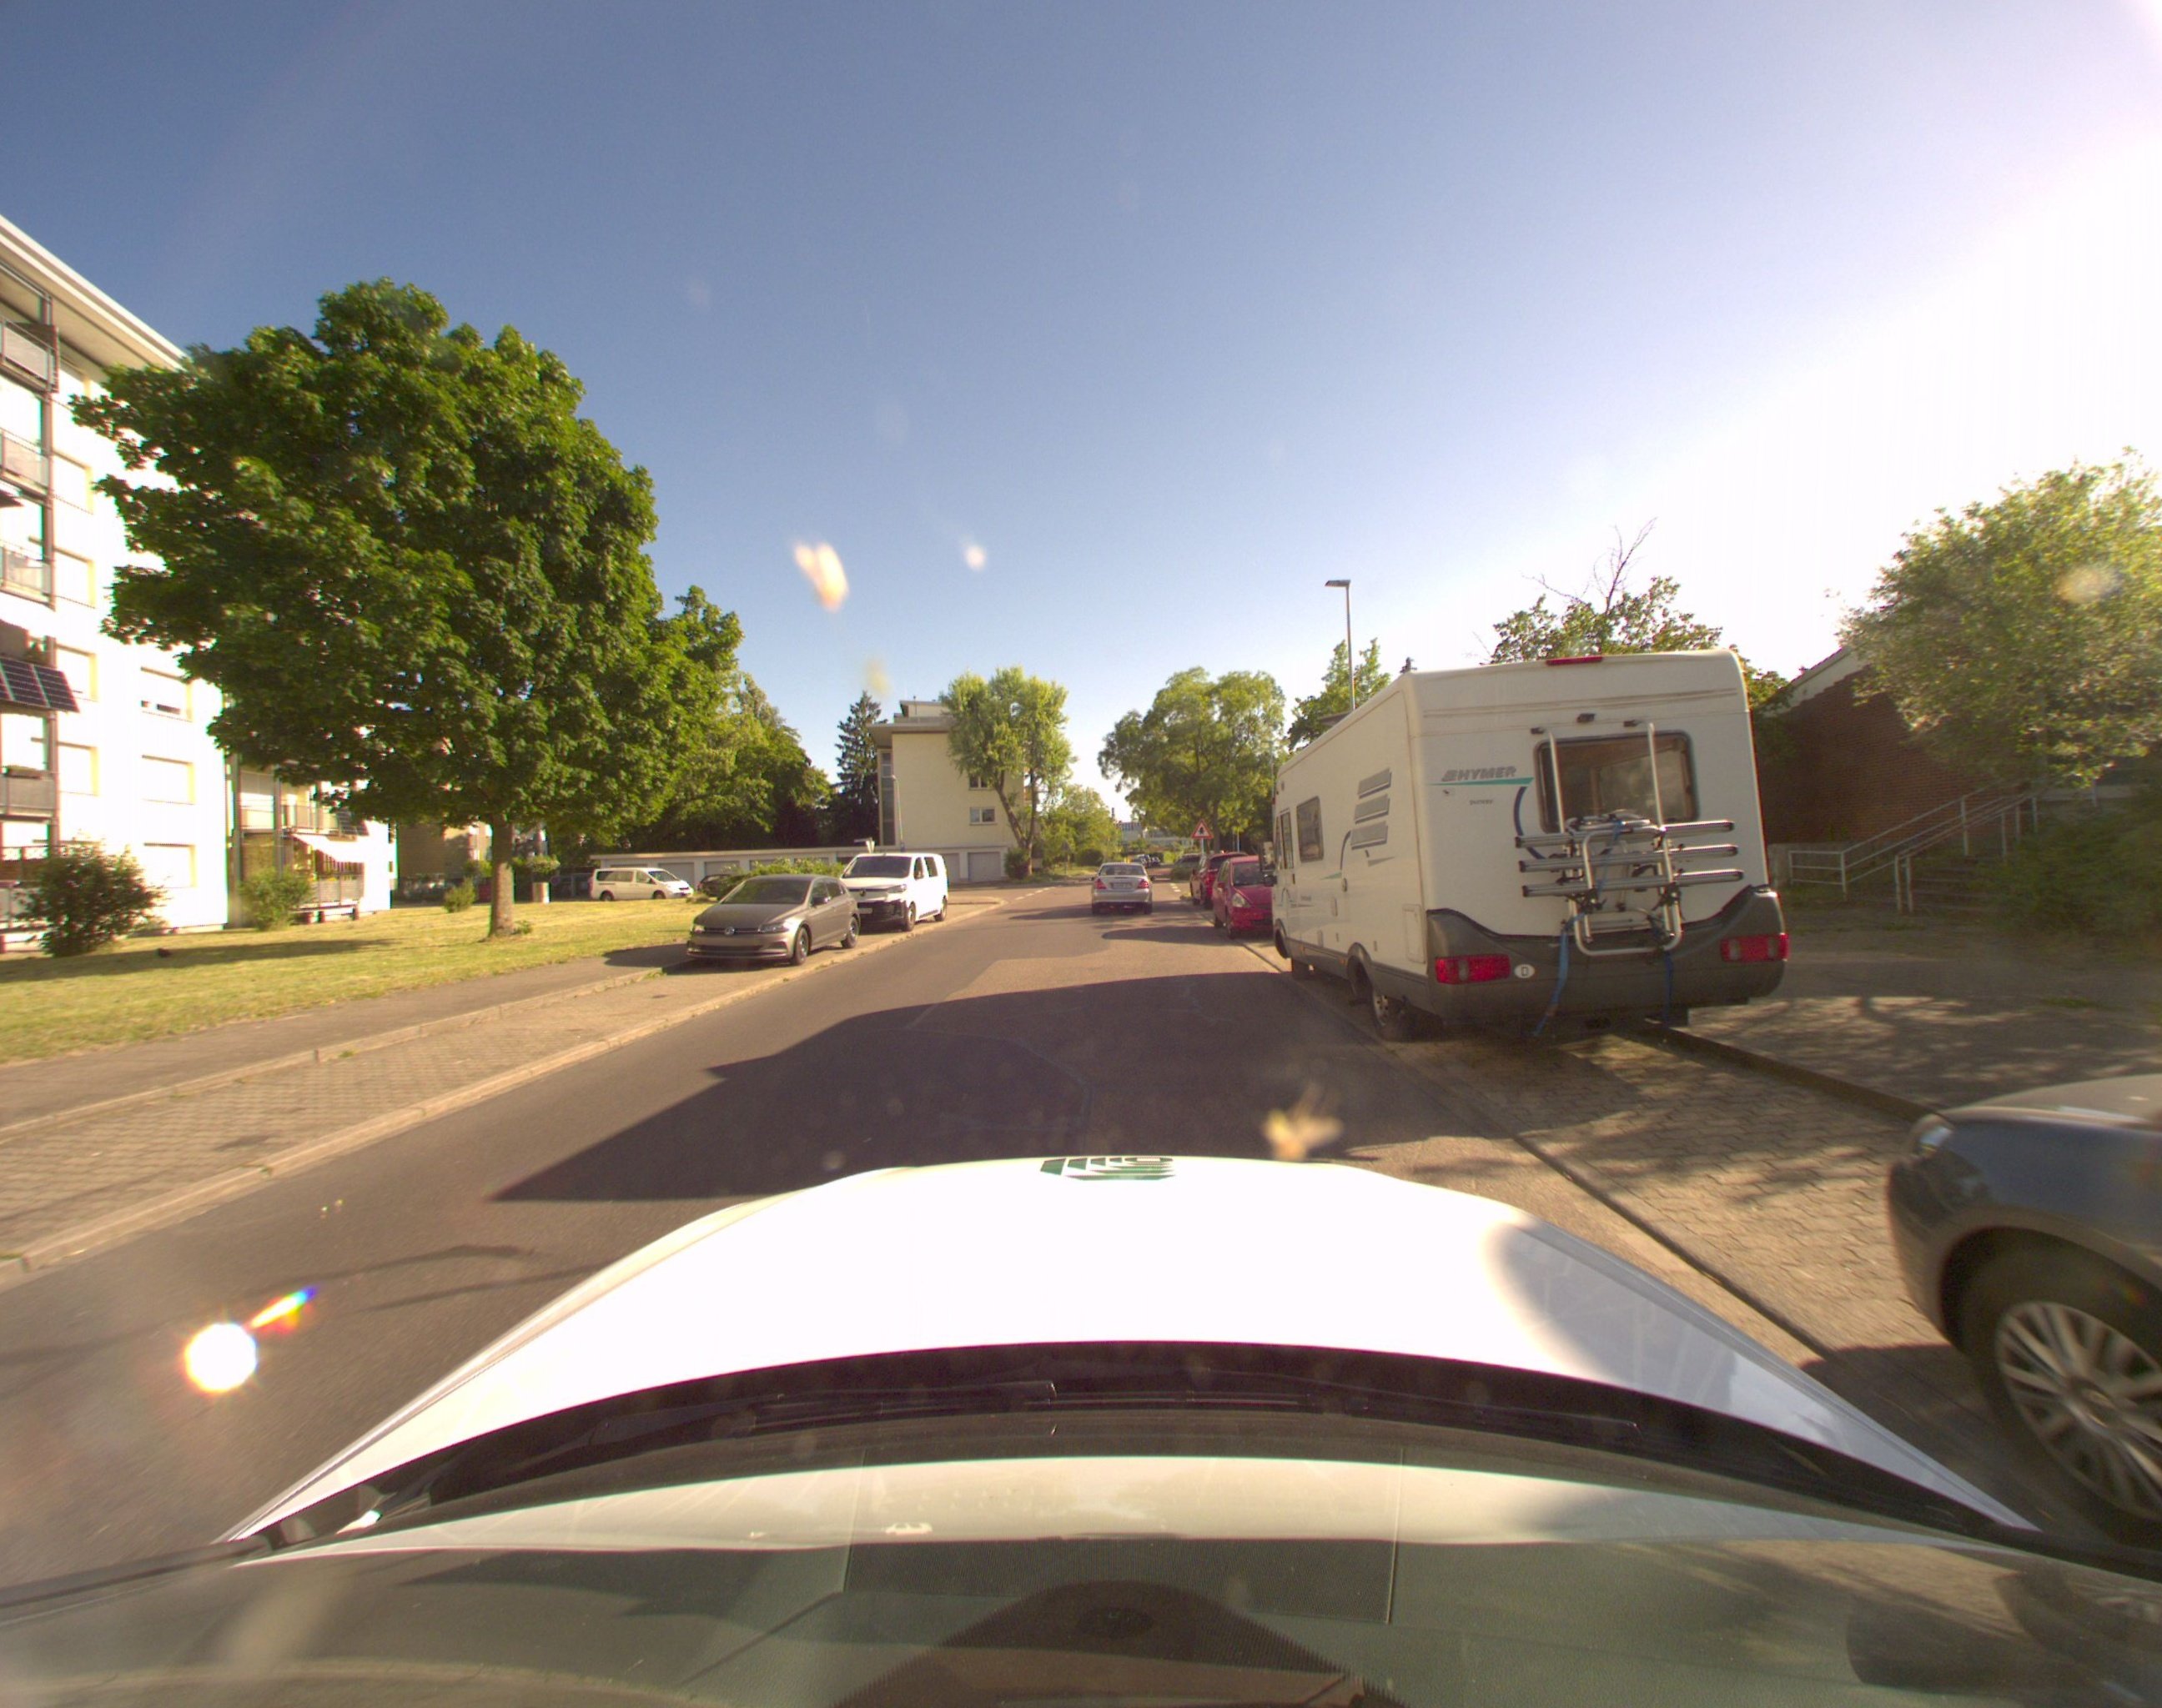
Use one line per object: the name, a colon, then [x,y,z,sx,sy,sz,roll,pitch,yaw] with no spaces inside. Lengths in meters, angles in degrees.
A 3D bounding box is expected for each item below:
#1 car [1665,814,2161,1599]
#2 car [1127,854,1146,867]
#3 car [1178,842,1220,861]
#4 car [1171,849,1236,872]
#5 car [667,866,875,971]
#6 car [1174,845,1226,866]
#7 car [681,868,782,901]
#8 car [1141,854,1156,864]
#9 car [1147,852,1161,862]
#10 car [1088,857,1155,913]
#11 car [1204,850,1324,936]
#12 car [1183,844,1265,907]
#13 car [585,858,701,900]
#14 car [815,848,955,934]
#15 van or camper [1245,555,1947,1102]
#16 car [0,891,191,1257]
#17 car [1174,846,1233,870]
car: [3.008,0.707,0.741,1.714,1.524,4.429,-5,0,1]
car: [7.261,0.770,105.769,1.901,1.490,3.848,-5,-1,10]
car: [14.874,-0.338,102.551,5.186,2.059,2.005,-3,0,9]
car: [9.362,0.481,62.689,4.759,1.549,2.014,-2,0,5]
car: [-5.195,0.998,14.322,1.825,1.518,4.225,-1,0,3]
car: [11.691,0.151,80.110,4.857,1.723,2.005,-3,0,8]
car: [-18.377,1.591,42.908,4.416,1.460,2.048,-3,0,9]
car: [10.349,0.779,124.096,1.738,1.330,3.463,-5,-1,13]
car: [11.748,0.518,130.659,1.738,1.521,4.207,-3,0,12]
car: [1.169,0.841,23.343,1.726,1.434,3.441,-2,-1,3]
car: [3.609,0.701,16.703,1.684,1.474,4.003,-3,0,3]
car: [4.429,0.617,25.896,1.769,1.680,4.645,-5,0,1]
car: [-23.456,1.321,43.728,5.074,1.951,2.243,-3,0,10]
car: [-4.790,0.841,20.812,2.006,1.885,5.195,-1,0,3]
van or camper: [3.477,-0.146,7.849,2.487,2.845,6.854,-3,0,2]
car: [-5.627,0.978,1.512,2.027,1.492,5.259,0,1,2]
car: [10.914,0.354,72.690,4.868,1.924,2.000,-3,0,0]
